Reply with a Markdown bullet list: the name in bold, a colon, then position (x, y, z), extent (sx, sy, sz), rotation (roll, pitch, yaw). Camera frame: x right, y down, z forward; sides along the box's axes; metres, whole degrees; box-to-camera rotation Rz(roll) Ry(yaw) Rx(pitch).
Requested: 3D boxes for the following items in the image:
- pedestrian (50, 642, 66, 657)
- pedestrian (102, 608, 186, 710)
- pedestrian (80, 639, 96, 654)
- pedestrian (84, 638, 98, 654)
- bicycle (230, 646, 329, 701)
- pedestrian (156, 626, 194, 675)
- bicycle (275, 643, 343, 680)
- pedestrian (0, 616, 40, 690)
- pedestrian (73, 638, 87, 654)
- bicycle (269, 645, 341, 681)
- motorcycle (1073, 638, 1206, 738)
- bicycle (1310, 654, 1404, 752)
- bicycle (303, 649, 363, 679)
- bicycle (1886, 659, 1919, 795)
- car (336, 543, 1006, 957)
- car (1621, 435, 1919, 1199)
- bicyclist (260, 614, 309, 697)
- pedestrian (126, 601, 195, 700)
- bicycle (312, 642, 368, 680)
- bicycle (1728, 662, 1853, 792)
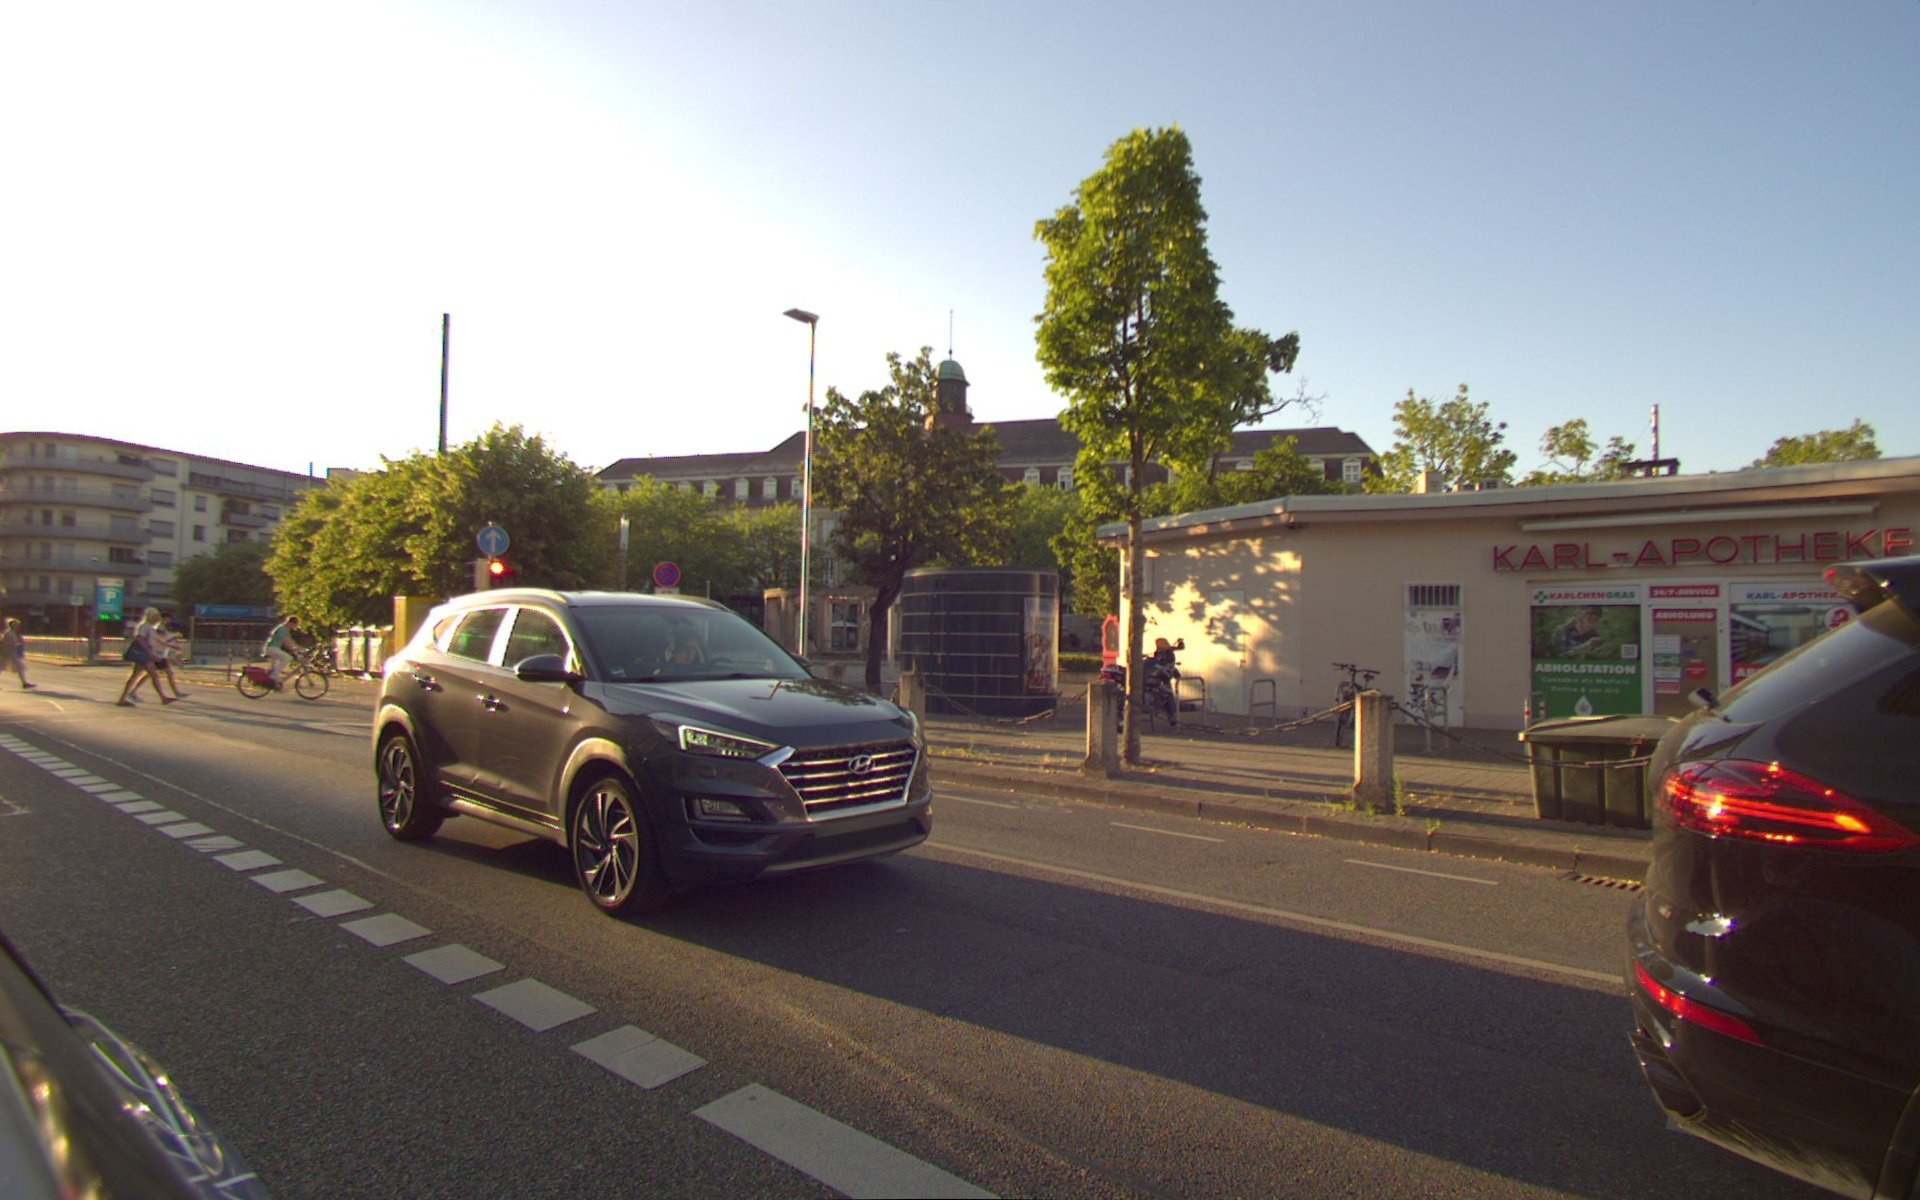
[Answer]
- **pedestrian**: position (-74.834, 4.102, 83.964), extent (0.875, 1.201, 0.734), rotation (2, -4, -40)
- **pedestrian**: position (-14.922, 1.067, 18.511), extent (1.084, 1.788, 0.827), rotation (3, -4, -43)
- **pedestrian**: position (-74.832, 3.991, 86.855), extent (0.814, 1.332, 0.684), rotation (-1, -3, 16)
- **pedestrian**: position (-74.505, 3.941, 86.771), extent (0.887, 1.332, 0.723), rotation (-2, -3, 38)
- **bicycle**: position (-15.339, 1.660, 22.869), extent (1.795, 1.195, 0.795), rotation (3, -4, -33)
- **pedestrian**: position (-29.931, 1.937, 38.594), extent (0.936, 1.831, 0.828), rotation (2, -3, -28)
- **bicycle**: position (-23.405, 2.186, 36.416), extent (0.548, 1.262, 2.007), rotation (-2, -2, 36)
- **pedestrian**: position (-21.971, 1.213, 23.303), extent (0.779, 1.666, 0.781), rotation (1, -3, -7)
- **pedestrian**: position (-74.972, 3.909, 86.193), extent (0.888, 1.332, 0.723), rotation (-2, -3, 39)
- **bicycle**: position (-22.466, 2.149, 34.722), extent (0.548, 1.143, 2.007), rotation (-2, -2, 36)
- **motorcycle**: position (2.863, 1.343, 15.855), extent (0.868, 1.440, 2.554), rotation (-2, -4, 41)
- **bicycle**: position (5.520, 1.386, 14.026), extent (0.632, 1.266, 1.834), rotation (-2, -4, 41)
- **bicycle**: position (-21.488, 2.176, 34.724), extent (0.548, 0.986, 1.658), rotation (-2, -2, 36)
- **bicycle**: position (9.942, 1.240, 10.212), extent (0.787, 1.266, 2.418), rotation (-2, -4, 41)
- **car**: position (-2.036, 0.724, 6.347), extent (4.446, 1.702, 1.853), rotation (-2, -5, 40)
- **car**: position (3.718, 0.570, 1.349), extent (4.557, 1.727, 1.929), rotation (-2, -4, 39)
- **bicyclist**: position (-15.301, 1.248, 22.949), extent (0.822, 1.840, 0.833), rotation (2, -3, -32)
- **pedestrian**: position (-16.035, 1.013, 20.301), extent (0.927, 1.912, 0.826), rotation (4, -4, -44)
- **bicycle**: position (-21.141, 2.065, 34.542), extent (0.444, 1.262, 1.571), rotation (-2, -2, 38)
- **bicycle**: position (9.089, 1.319, 11.056), extent (0.949, 1.266, 1.984), rotation (-2, -4, 41)
